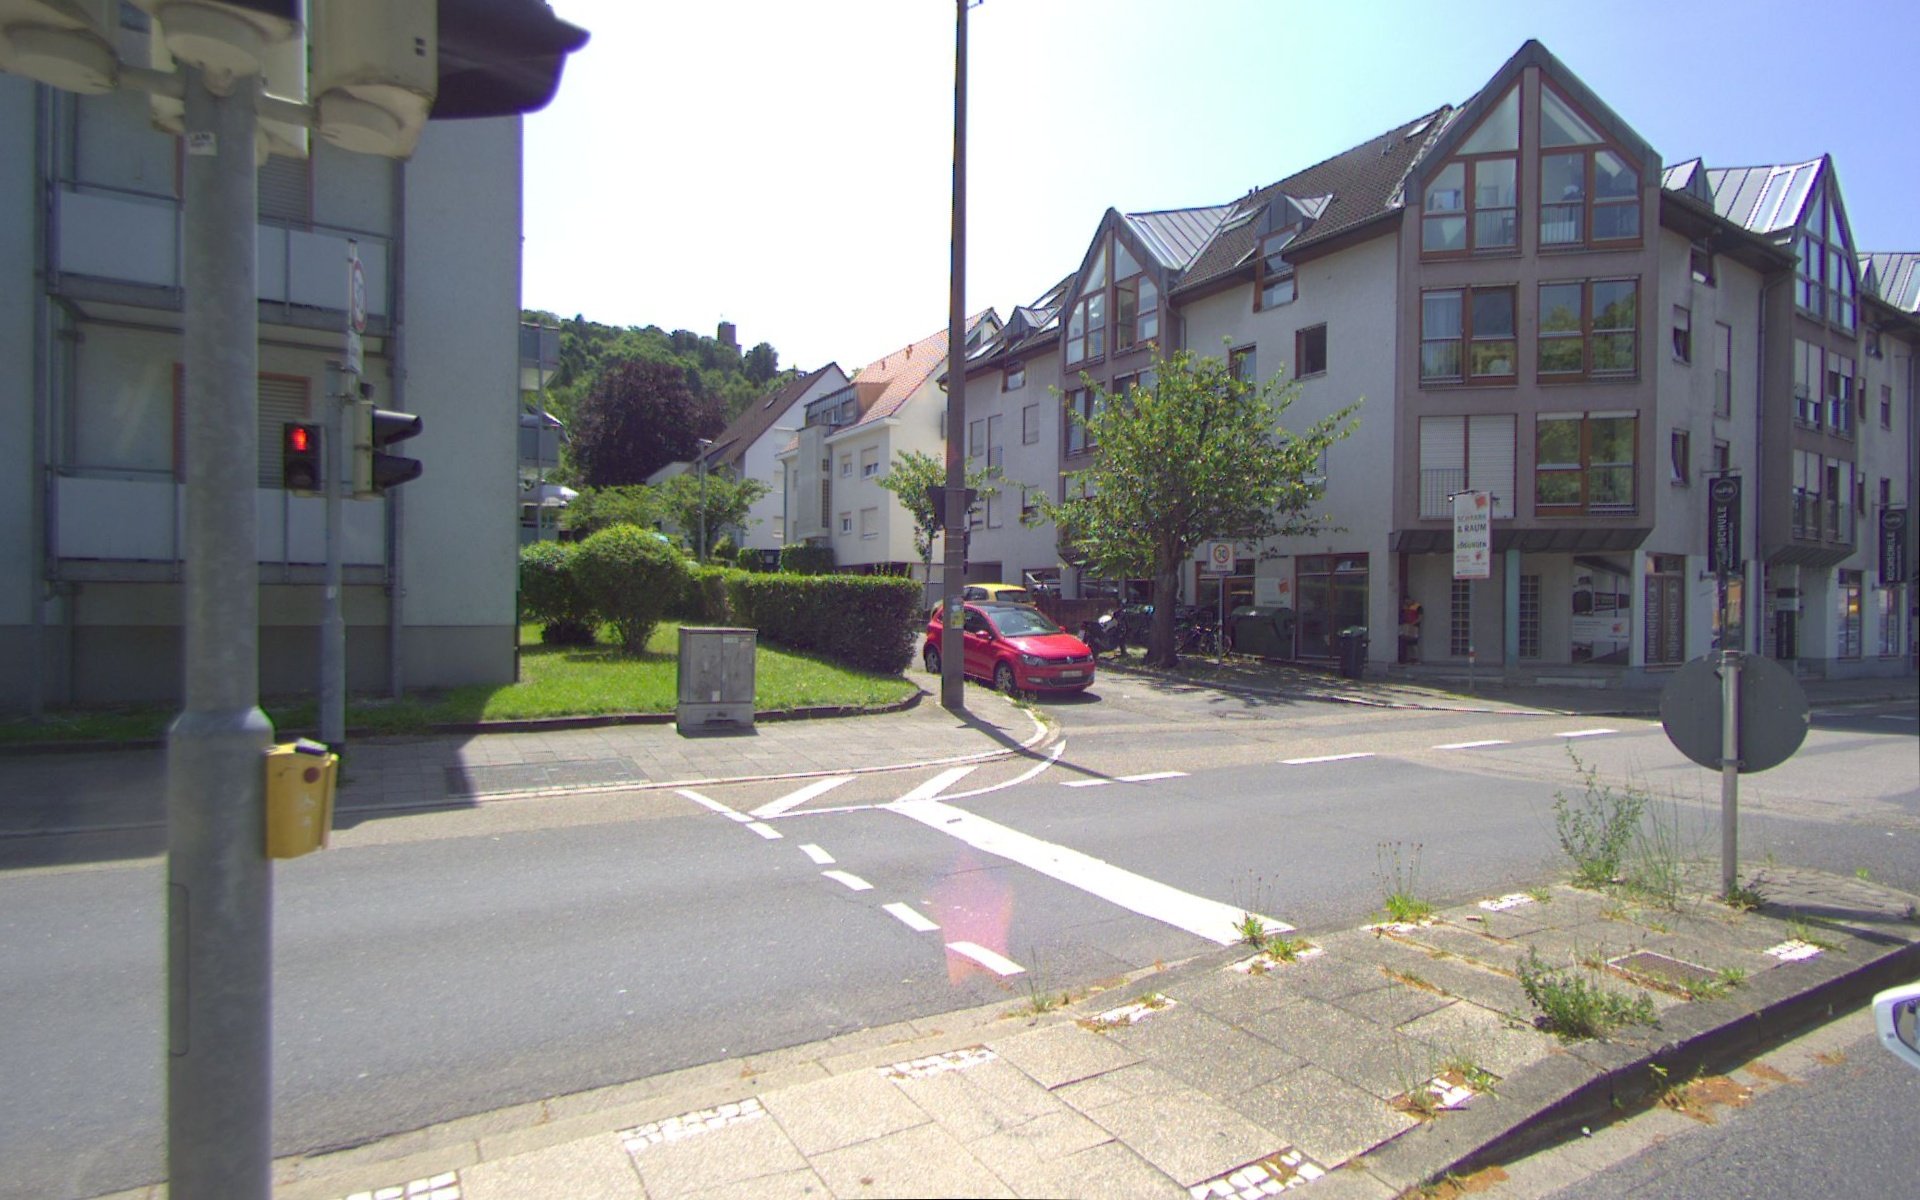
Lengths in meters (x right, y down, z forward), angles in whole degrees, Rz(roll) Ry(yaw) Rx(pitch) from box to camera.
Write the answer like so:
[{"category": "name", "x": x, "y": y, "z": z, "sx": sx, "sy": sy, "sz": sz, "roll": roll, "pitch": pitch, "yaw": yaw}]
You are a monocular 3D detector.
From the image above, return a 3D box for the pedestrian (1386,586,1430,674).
[{"category": "pedestrian", "x": 10.585, "y": 0.703, "z": 23.743, "sx": 0.831, "sy": 2.040, "sz": 0.593, "roll": 1, "pitch": 0, "yaw": -38}]

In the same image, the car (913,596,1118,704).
[{"category": "car", "x": 0.868, "y": 0.783, "z": 18.007, "sx": 1.713, "sy": 1.471, "sz": 3.965, "roll": 0, "pitch": 4, "yaw": -31}]

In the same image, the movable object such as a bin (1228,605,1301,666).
[{"category": "movable object such as a bin", "x": 7.293, "y": 0.837, "z": 24.061, "sx": 1.076, "sy": 1.385, "sz": 1.265, "roll": 1, "pitch": 0, "yaw": -36}]

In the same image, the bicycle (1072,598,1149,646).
[{"category": "bicycle", "x": 4.026, "y": 0.586, "z": 27.073, "sx": 0.749, "sy": 1.251, "sz": 2.243, "roll": 1, "pitch": -1, "yaw": -33}]

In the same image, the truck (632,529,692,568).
[{"category": "truck", "x": -17.484, "y": -3.045, "z": 58.758, "sx": 2.082, "sy": 2.063, "sz": 5.397, "roll": 1, "pitch": 3, "yaw": -31}]

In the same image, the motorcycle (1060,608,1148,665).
[{"category": "motorcycle", "x": 3.378, "y": 0.817, "z": 23.347, "sx": 0.915, "sy": 1.049, "sz": 2.376, "roll": 4, "pitch": 6, "yaw": 40}]

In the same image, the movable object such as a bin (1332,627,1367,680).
[{"category": "movable object such as a bin", "x": 8.331, "y": 1.137, "z": 21.487, "sx": 0.660, "sy": 1.111, "sz": 0.633, "roll": 1, "pitch": -1, "yaw": 19}]

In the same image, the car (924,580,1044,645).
[{"category": "car", "x": 0.593, "y": 0.284, "z": 28.104, "sx": 1.636, "sy": 1.433, "sz": 3.759, "roll": -2, "pitch": 5, "yaw": -31}]

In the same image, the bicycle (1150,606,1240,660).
[{"category": "bicycle", "x": 5.716, "y": 0.780, "z": 24.604, "sx": 0.749, "sy": 1.251, "sz": 2.242, "roll": 1, "pitch": -1, "yaw": -34}]
